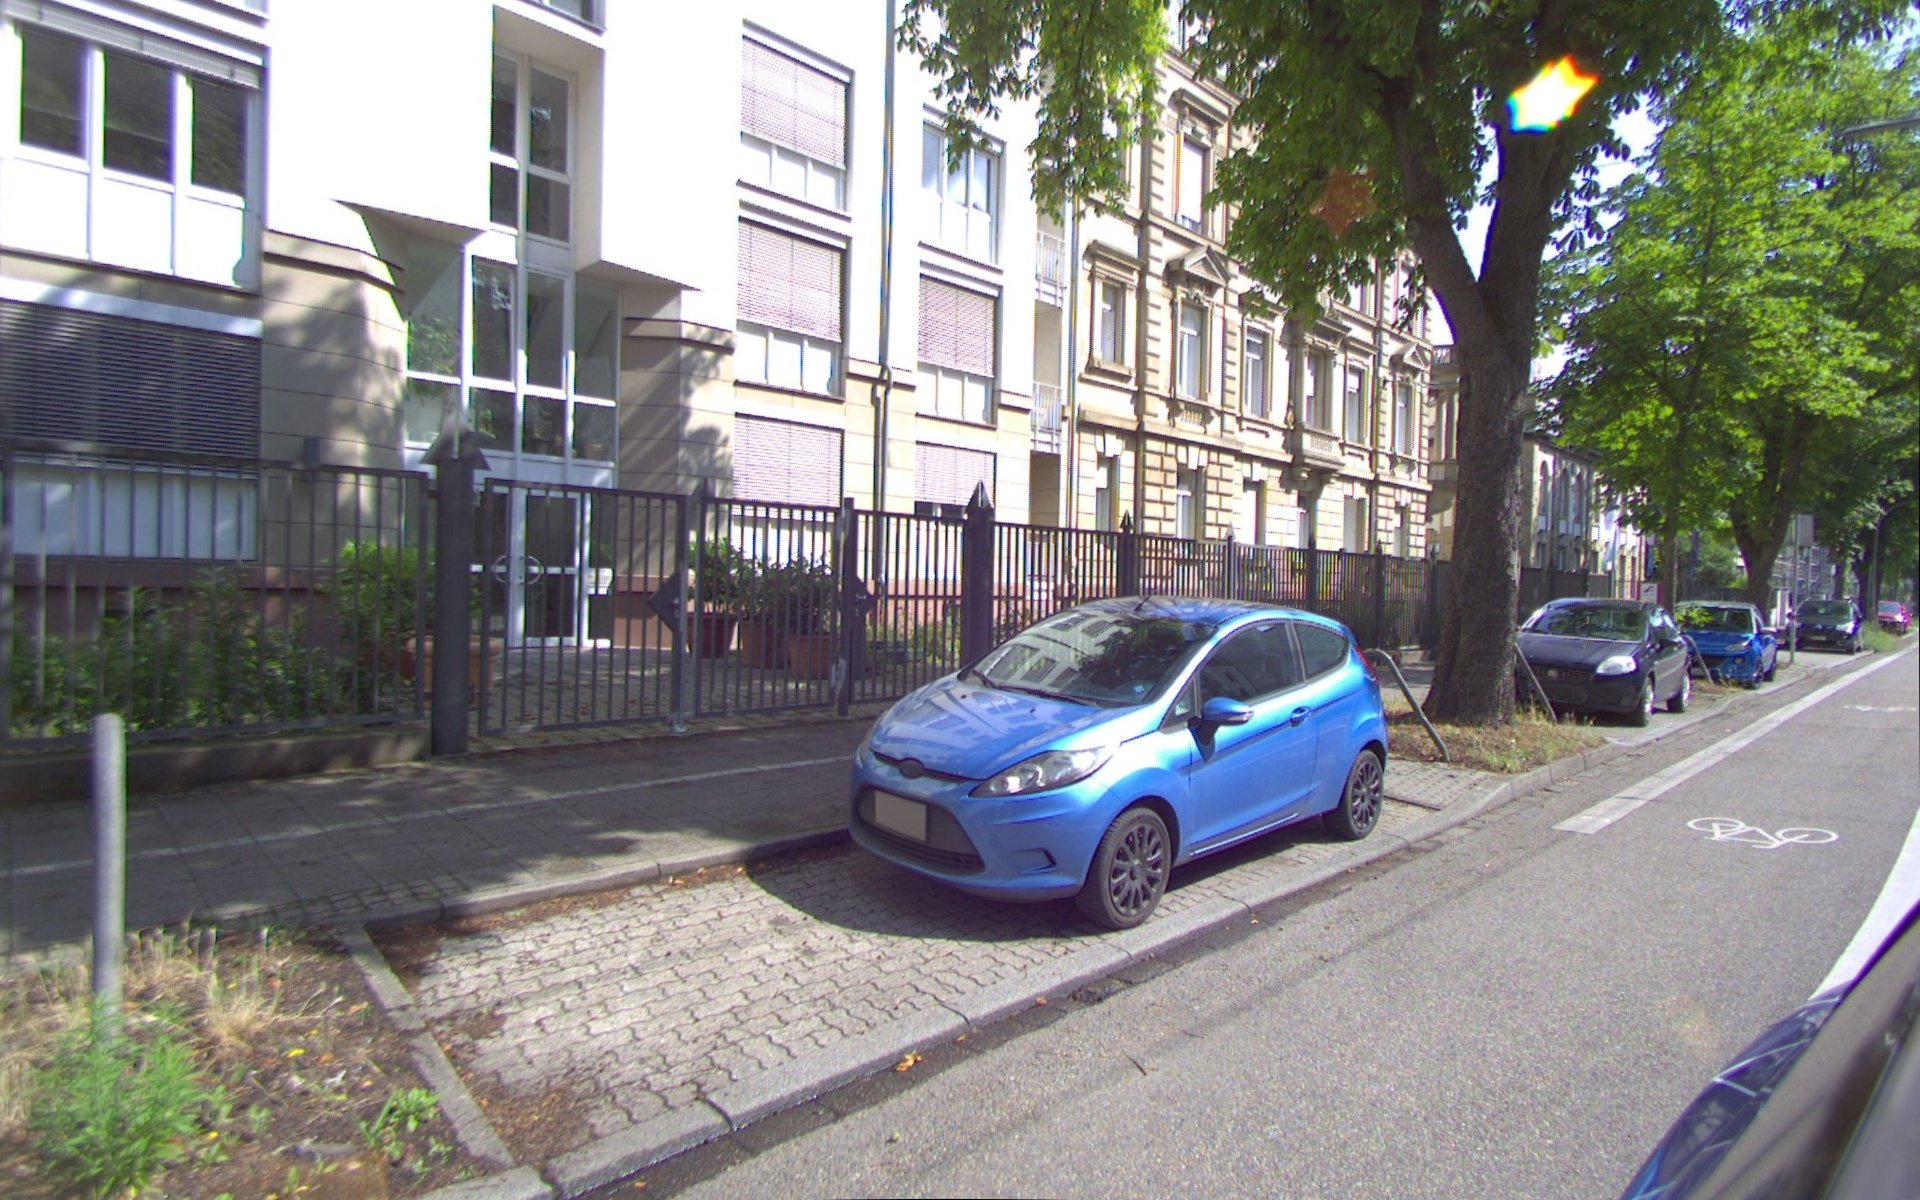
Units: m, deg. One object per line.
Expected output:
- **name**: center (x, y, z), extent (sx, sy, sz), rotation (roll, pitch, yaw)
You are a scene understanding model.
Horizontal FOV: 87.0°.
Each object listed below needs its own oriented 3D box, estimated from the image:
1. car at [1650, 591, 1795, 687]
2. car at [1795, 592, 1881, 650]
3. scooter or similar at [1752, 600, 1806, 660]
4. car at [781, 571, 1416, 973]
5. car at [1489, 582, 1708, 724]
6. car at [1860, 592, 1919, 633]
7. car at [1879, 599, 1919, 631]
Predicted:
- **car**: center (14.054, 0.641, 18.592), extent (1.641, 1.514, 3.569), rotation (4, 3, 44)
- **car**: center (27.448, 0.599, 31.609), extent (1.698, 1.610, 4.135), rotation (4, 3, 45)
- **scooter or similar**: center (19.071, 0.671, 23.583), extent (0.436, 1.315, 1.177), rotation (5, 2, 15)
- **car**: center (1.026, 0.663, 5.880), extent (3.784, 1.514, 1.626), rotation (0, 3, -44)
- **car**: center (8.365, 0.579, 13.124), extent (1.640, 1.514, 3.698), rotation (4, 3, 44)
- **car**: center (43.413, 0.543, 47.233), extent (1.877, 1.696, 4.214), rotation (4, 3, 44)
- **car**: center (49.062, 0.760, 52.648), extent (1.599, 1.445, 3.544), rotation (6, 4, 40)
